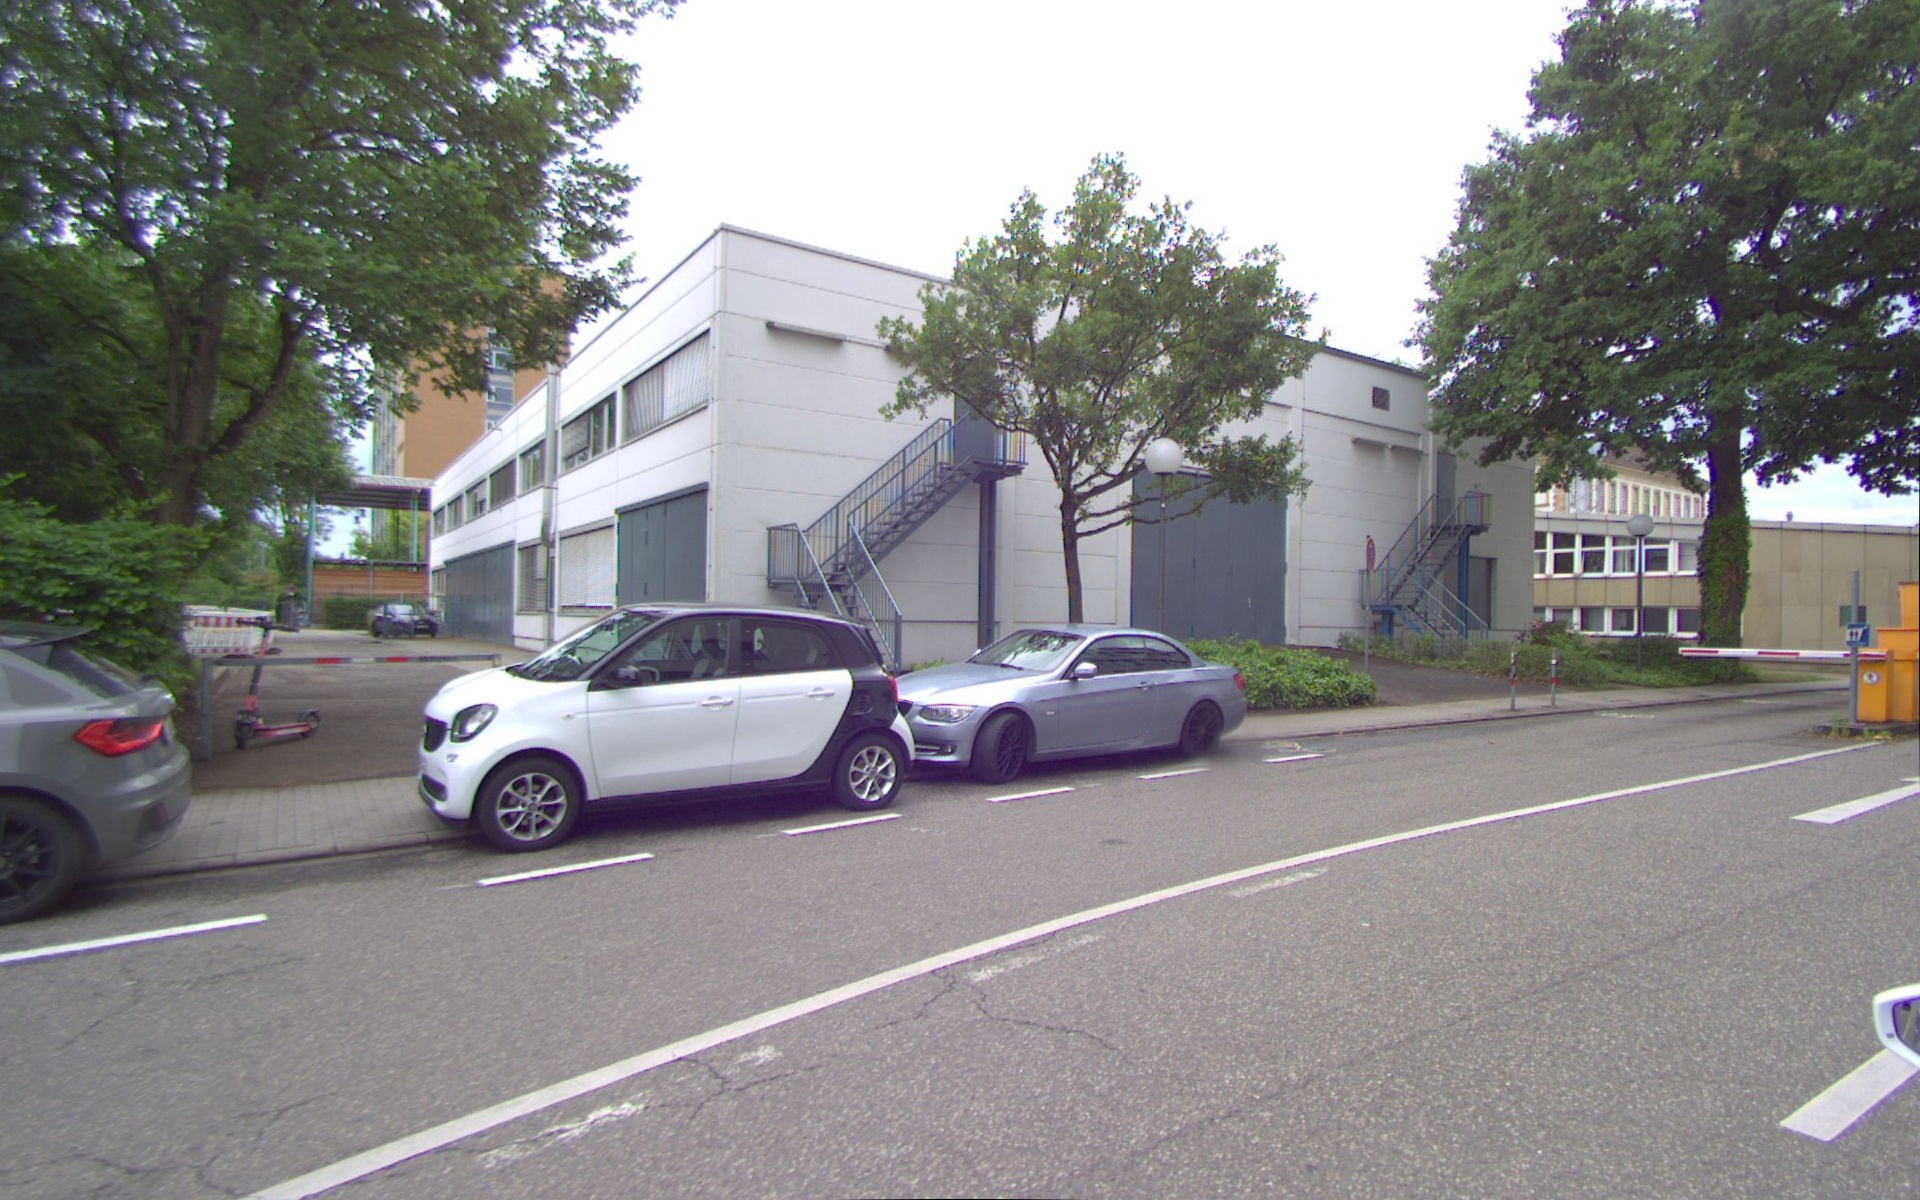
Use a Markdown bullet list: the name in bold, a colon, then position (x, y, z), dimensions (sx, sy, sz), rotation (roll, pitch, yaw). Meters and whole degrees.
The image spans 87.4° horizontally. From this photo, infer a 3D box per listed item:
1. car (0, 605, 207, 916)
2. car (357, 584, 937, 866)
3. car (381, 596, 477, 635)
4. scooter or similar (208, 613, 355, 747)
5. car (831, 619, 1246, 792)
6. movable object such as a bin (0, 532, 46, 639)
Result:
- **car**: position (-5.995, 0.735, 4.629), dimensions (3.970, 1.430, 1.751), rotation (1, 0, -36)
- **car**: position (-2.231, 0.722, 7.536), dimensions (3.839, 1.607, 1.704), rotation (1, 0, -35)
- **car**: position (-21.995, 0.637, 41.624), dimensions (3.703, 1.550, 1.875), rotation (0, -1, 31)
- **scooter or similar**: position (-6.677, 0.749, 9.954), dimensions (0.441, 1.226, 1.307), rotation (1, 0, 7)
- **car**: position (0.923, 0.938, 10.420), dimensions (4.155, 1.407, 1.804), rotation (1, 0, -37)
- **movable object such as a bin**: position (-21.856, -0.274, 22.174), dimensions (1.982, 2.200, 4.621), rotation (1, -2, -37)
